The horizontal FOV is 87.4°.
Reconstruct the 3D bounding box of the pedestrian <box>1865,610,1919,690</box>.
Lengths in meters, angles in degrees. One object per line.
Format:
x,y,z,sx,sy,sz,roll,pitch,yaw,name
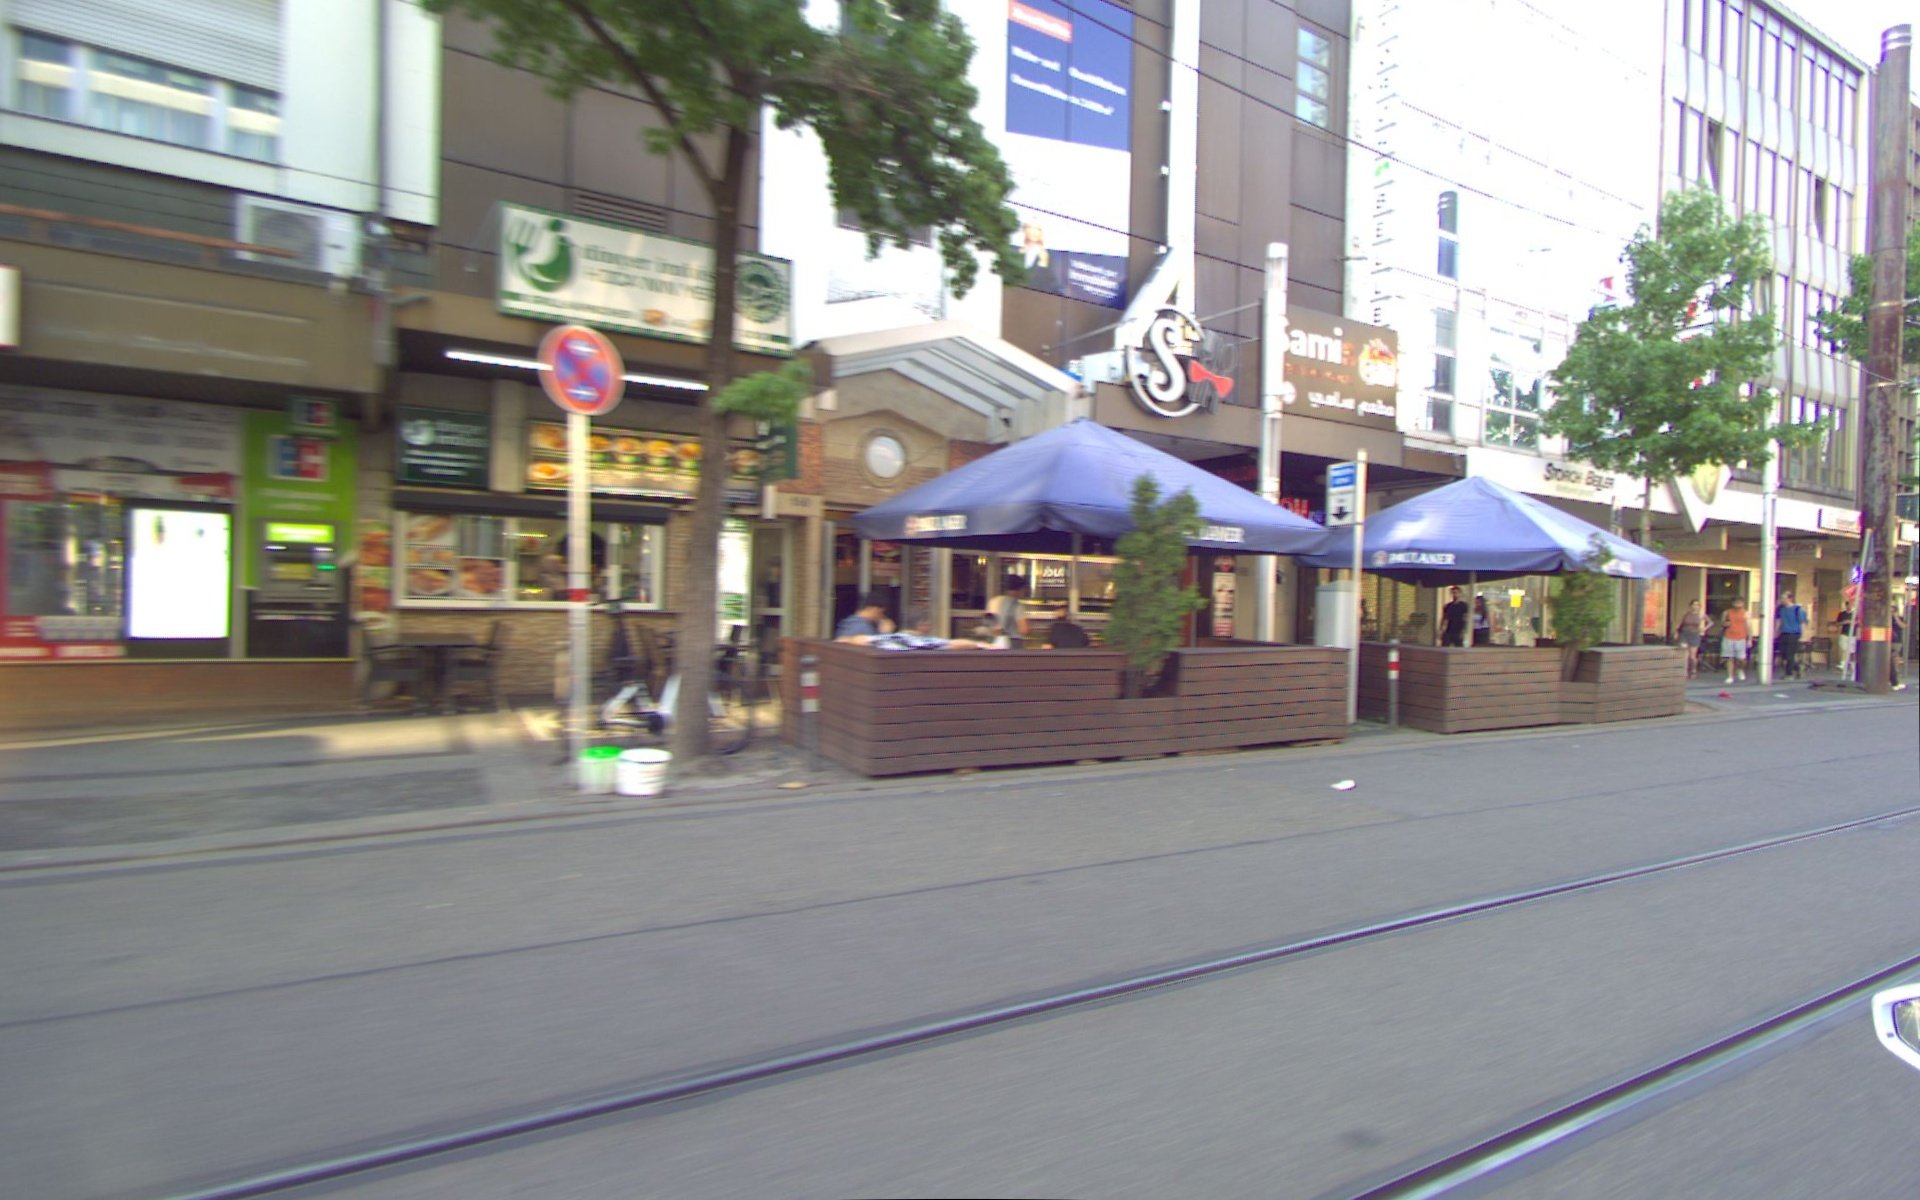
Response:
19.208,1.017,20.614,0.842,1.571,0.619,1,3,-30,pedestrian

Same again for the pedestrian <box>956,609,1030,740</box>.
0.325,0.728,10.022,0.529,1.244,0.492,1,1,-31,pedestrian

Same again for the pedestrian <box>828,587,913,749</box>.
-0.844,0.614,9.399,0.576,1.448,0.546,1,1,-31,pedestrian

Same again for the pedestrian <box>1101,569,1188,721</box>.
2.210,0.513,12.048,0.668,1.748,0.713,1,1,-31,pedestrian

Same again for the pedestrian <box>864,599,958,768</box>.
-0.425,0.690,8.611,0.576,1.374,0.546,1,1,-31,pedestrian

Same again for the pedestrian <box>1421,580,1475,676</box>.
9.309,0.528,19.171,0.663,1.769,0.594,1,2,-30,pedestrian

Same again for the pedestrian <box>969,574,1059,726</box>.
0.596,0.543,11.260,0.711,1.629,0.670,1,1,-31,pedestrian

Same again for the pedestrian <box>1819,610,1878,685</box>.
18.983,0.997,21.463,0.823,1.529,0.619,1,3,-30,pedestrian

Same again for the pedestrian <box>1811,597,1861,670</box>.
22.863,0.871,26.211,0.922,1.828,0.619,1,3,-30,pedestrian

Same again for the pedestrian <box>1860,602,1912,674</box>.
23.333,0.951,25.316,0.922,1.771,0.619,1,3,-30,pedestrian

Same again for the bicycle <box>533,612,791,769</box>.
-2.513,0.706,8.694,0.690,1.136,2.075,5,4,42,bicycle

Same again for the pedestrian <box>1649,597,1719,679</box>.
15.164,0.782,21.061,0.748,1.660,0.850,2,2,-10,pedestrian

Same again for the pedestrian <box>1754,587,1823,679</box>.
18.345,0.709,22.250,1.060,1.949,0.796,1,3,-33,pedestrian

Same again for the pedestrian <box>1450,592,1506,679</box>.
9.619,0.647,18.660,0.663,1.553,0.594,1,2,-30,pedestrian

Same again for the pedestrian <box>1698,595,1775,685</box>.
15.939,0.802,20.645,0.820,1.764,0.850,2,2,-10,pedestrian

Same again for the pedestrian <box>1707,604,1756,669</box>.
18.999,0.886,24.749,0.800,1.546,0.619,1,3,-30,pedestrian
